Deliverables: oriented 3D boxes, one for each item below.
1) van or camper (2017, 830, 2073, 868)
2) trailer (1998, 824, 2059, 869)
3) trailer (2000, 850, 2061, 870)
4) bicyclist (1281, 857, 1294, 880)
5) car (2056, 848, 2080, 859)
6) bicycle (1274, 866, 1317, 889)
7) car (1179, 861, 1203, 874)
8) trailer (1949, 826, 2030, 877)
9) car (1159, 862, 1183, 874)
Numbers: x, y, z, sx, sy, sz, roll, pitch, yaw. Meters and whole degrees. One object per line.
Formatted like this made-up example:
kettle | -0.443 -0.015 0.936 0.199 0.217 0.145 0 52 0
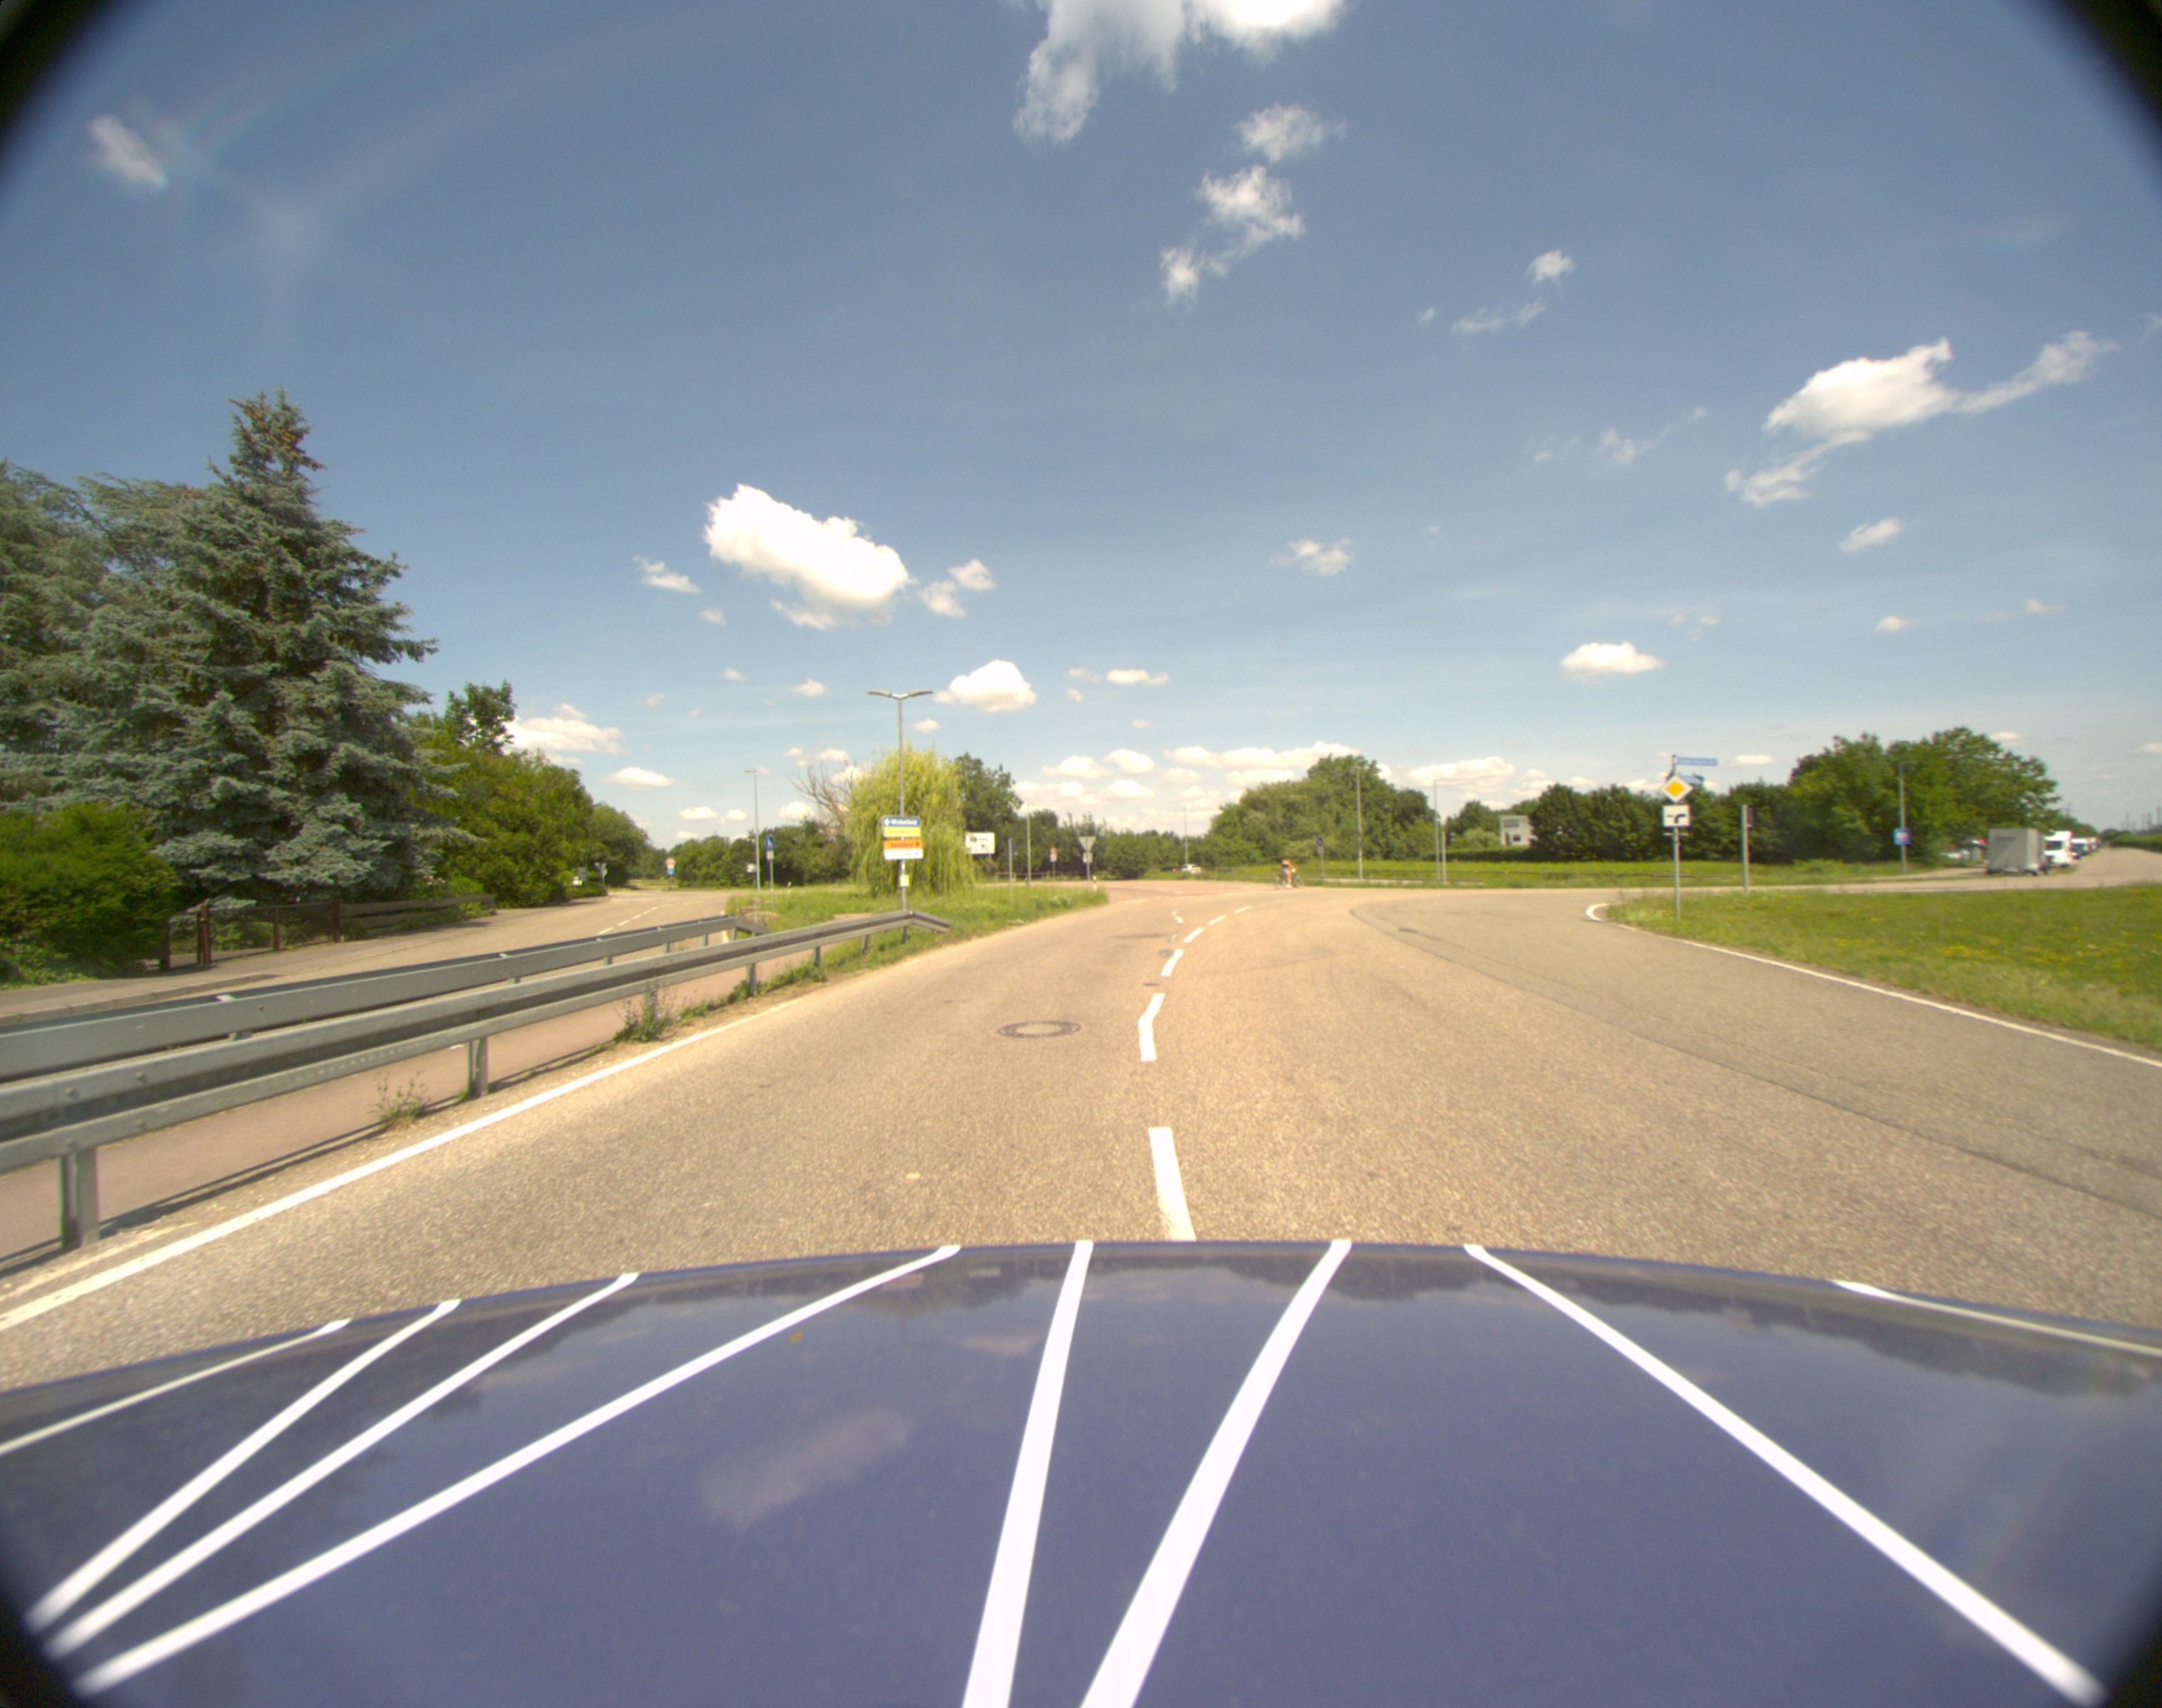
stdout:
van or camper | 75.466 -0.450 59.451 7.637 2.810 2.440 -1 1 -37
trailer | 55.018 -0.440 44.107 4.749 2.494 1.919 -1 2 -36
trailer | 60.402 0.344 48.304 4.496 1.117 2.005 -1 2 -34
bicyclist | 11.342 0.780 41.777 0.511 1.248 0.469 -1 0 -8
car | 112.675 -0.058 86.722 3.792 1.221 1.580 -1 0 -36
bicycle | 11.815 1.288 41.859 2.146 1.158 0.661 -1 0 -8
car | 13.839 1.763 95.757 1.420 1.495 3.113 -2 -2 -24
trailer | 49.418 -0.147 41.292 5.192 2.629 1.934 -1 2 -31
car | 11.104 1.704 93.879 1.420 1.329 3.113 -2 -2 -24
